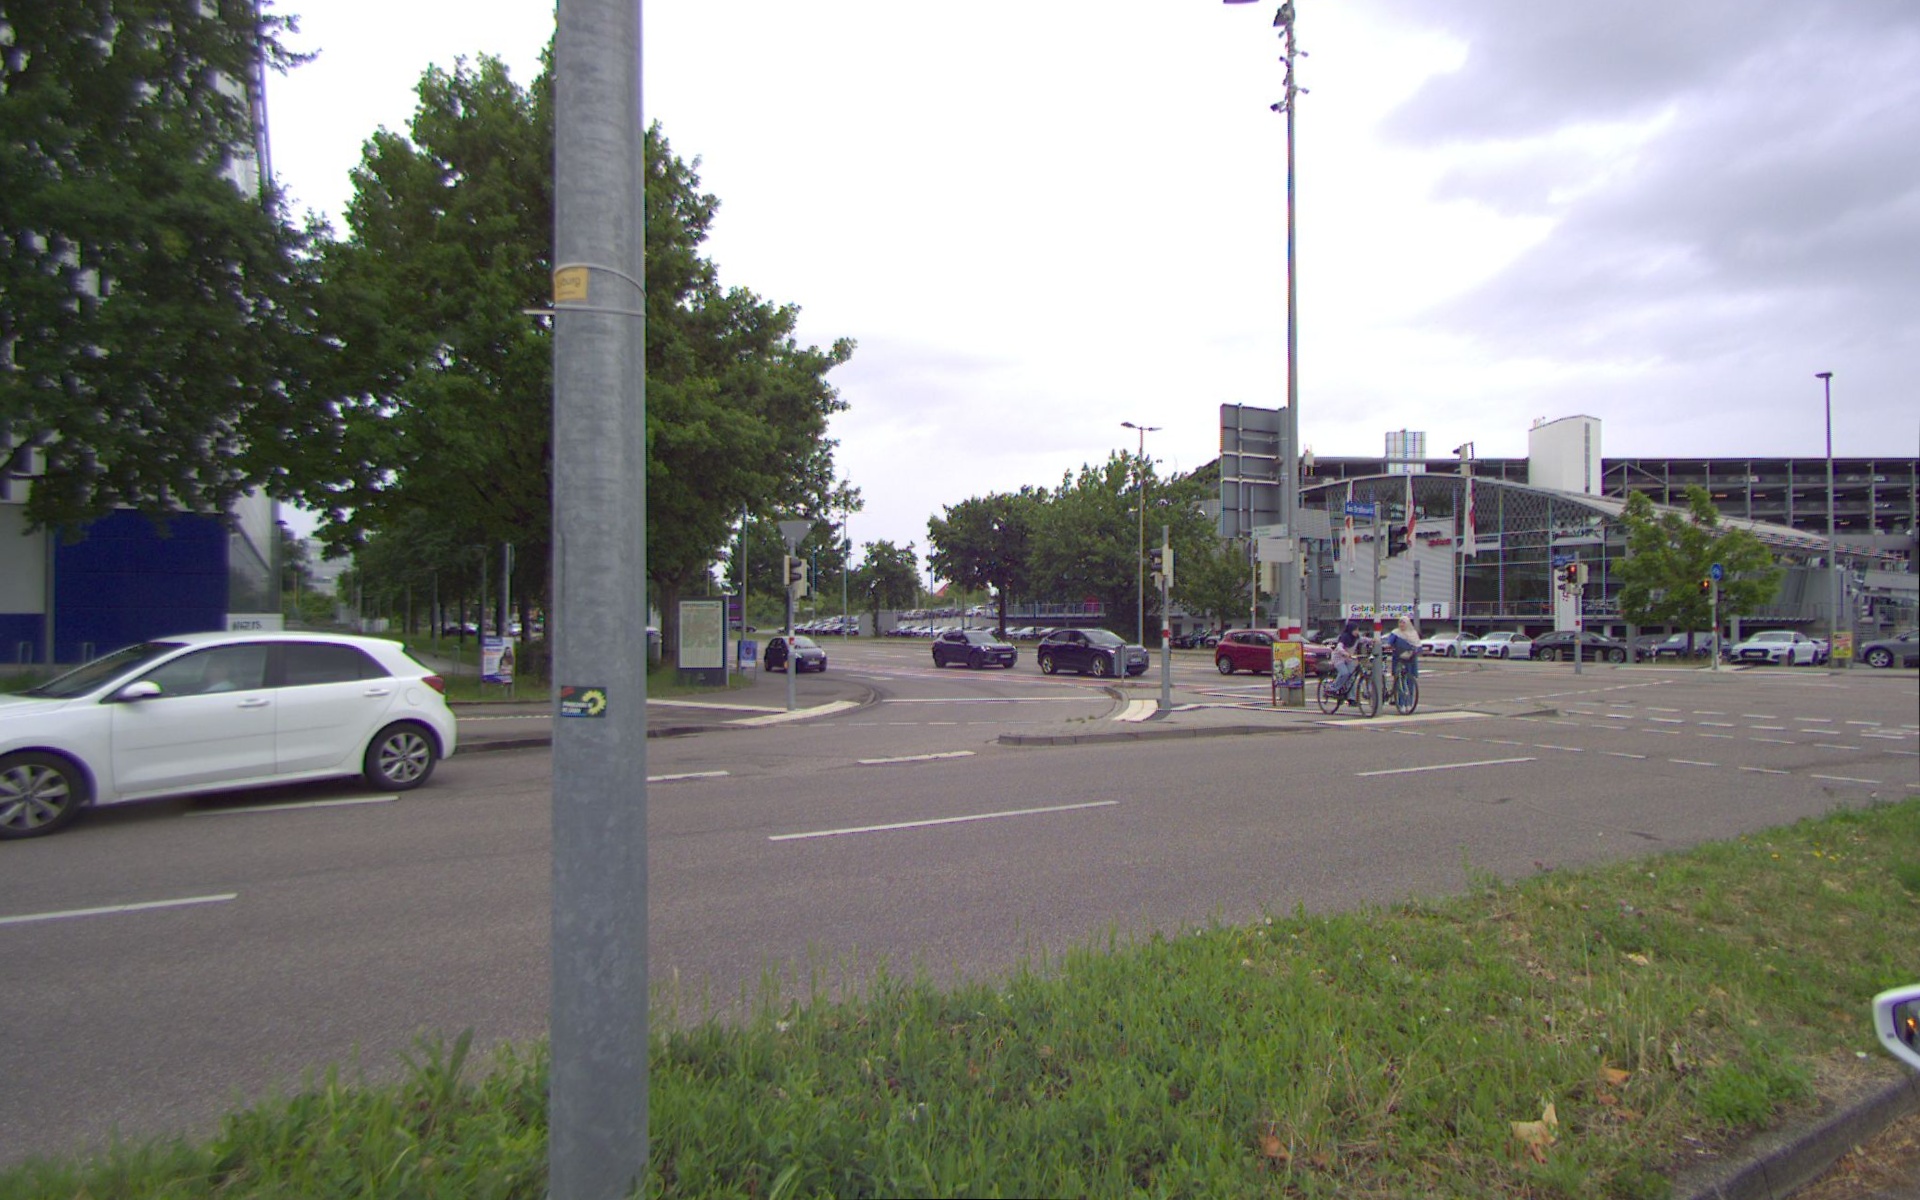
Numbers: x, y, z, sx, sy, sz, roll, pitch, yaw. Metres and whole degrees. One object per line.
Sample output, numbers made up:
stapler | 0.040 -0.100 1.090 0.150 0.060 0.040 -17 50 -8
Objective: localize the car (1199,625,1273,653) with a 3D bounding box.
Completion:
car | 17.020 2.442 61.972 4.617 1.491 1.830 4 -3 -34

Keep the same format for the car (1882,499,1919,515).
car | 121.877 -11.995 129.752 1.960 1.689 4.001 1 0 2

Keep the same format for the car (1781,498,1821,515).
car | 108.880 -12.102 130.057 1.960 1.689 4.001 1 0 2

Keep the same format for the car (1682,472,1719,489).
car | 96.280 -15.556 130.587 1.960 1.689 4.001 1 0 2

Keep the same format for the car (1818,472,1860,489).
car | 113.668 -15.433 129.916 1.960 1.689 4.001 1 0 2

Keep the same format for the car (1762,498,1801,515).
car | 106.421 -12.118 130.169 1.960 1.689 4.001 1 0 2

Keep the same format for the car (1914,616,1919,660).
car | 46.168 1.682 44.929 1.981 2.040 4.742 2 -4 -35

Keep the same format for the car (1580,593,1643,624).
car | 39.218 0.523 60.413 3.960 1.684 1.807 2 0 -35

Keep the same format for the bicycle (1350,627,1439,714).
bicycle | 7.463 1.213 17.361 0.585 1.414 1.934 -1 -4 -2

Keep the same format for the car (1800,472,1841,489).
car | 111.495 -15.513 130.131 1.960 1.689 4.001 1 0 2

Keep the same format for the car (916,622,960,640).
car | -2.006 2.852 91.014 3.639 1.506 1.696 2 0 -34

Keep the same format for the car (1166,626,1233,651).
car | 15.323 2.461 64.212 4.175 1.439 1.838 4 -3 -34

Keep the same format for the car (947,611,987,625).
car | 0.848 2.153 118.468 4.306 1.516 2.049 2 0 -35

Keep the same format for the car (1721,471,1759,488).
car | 101.315 -15.643 130.549 1.960 1.689 4.001 1 0 2

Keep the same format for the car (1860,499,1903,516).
car | 119.087 -11.925 129.884 1.960 1.689 4.001 1 0 2

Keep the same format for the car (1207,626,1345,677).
car | 10.070 1.629 32.266 1.723 1.507 4.039 1 -3 -35

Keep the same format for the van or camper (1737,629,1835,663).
van or camper | 47.409 2.611 57.703 1.828 1.734 3.963 2 0 -33

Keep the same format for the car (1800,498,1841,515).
car | 111.381 -12.074 130.009 1.960 1.689 4.001 1 0 2

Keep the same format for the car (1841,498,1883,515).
car | 116.498 -12.065 129.774 1.960 1.689 4.001 1 0 2

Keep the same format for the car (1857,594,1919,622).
car | 64.823 0.576 69.354 1.740 1.862 3.965 2 0 -32

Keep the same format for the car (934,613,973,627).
car | -0.723 2.369 120.475 4.306 1.516 1.951 2 0 -35

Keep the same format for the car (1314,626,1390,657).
car | 21.489 2.265 55.025 4.148 1.505 1.891 5 -3 -34

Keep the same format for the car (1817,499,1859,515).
car | 113.527 -12.029 129.906 1.960 1.689 4.001 1 0 2

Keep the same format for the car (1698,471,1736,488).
car | 98.499 -15.633 130.758 1.960 1.689 4.001 1 0 2

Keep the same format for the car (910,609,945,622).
car | -4.028 1.934 124.482 4.058 1.516 1.713 2 0 -35

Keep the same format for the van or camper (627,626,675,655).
van or camper | -19.867 2.626 64.478 1.977 1.744 4.359 1 -3 -31

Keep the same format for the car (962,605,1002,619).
car | 2.564 1.381 116.120 4.306 1.516 1.863 2 0 -35

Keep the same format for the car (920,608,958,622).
car | -2.532 1.842 122.341 4.306 1.516 1.863 2 0 -35

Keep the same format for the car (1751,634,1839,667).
car | 53.172 3.172 64.033 1.742 1.862 3.960 2 0 -35

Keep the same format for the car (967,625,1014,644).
car | 2.596 2.917 84.338 3.639 1.506 1.696 2 0 -34

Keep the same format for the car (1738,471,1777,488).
car | 103.524 -15.570 130.362 1.960 1.689 4.001 1 0 2

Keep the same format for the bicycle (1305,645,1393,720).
bicycle | 6.502 1.352 16.889 0.499 1.181 1.946 2 -3 -7

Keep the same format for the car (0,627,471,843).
car | -6.516 0.992 8.519 1.757 1.471 3.923 -1 -3 33

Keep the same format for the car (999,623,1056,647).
car | 5.455 2.809 80.653 4.168 1.505 1.940 7 -3 -34

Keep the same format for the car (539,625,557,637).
car | -65.446 4.967 159.390 2.118 1.684 3.750 2 0 -31

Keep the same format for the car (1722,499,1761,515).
car | 101.426 -12.029 130.406 1.960 1.689 4.001 1 0 2

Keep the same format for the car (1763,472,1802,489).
car | 106.587 -15.490 130.207 1.960 1.689 4.001 1 0 2

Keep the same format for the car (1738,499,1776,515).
car | 103.634 -12.089 130.662 1.960 1.689 4.001 1 0 2

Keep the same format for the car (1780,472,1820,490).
car | 108.860 -15.414 130.198 1.960 1.689 4.001 1 0 2
